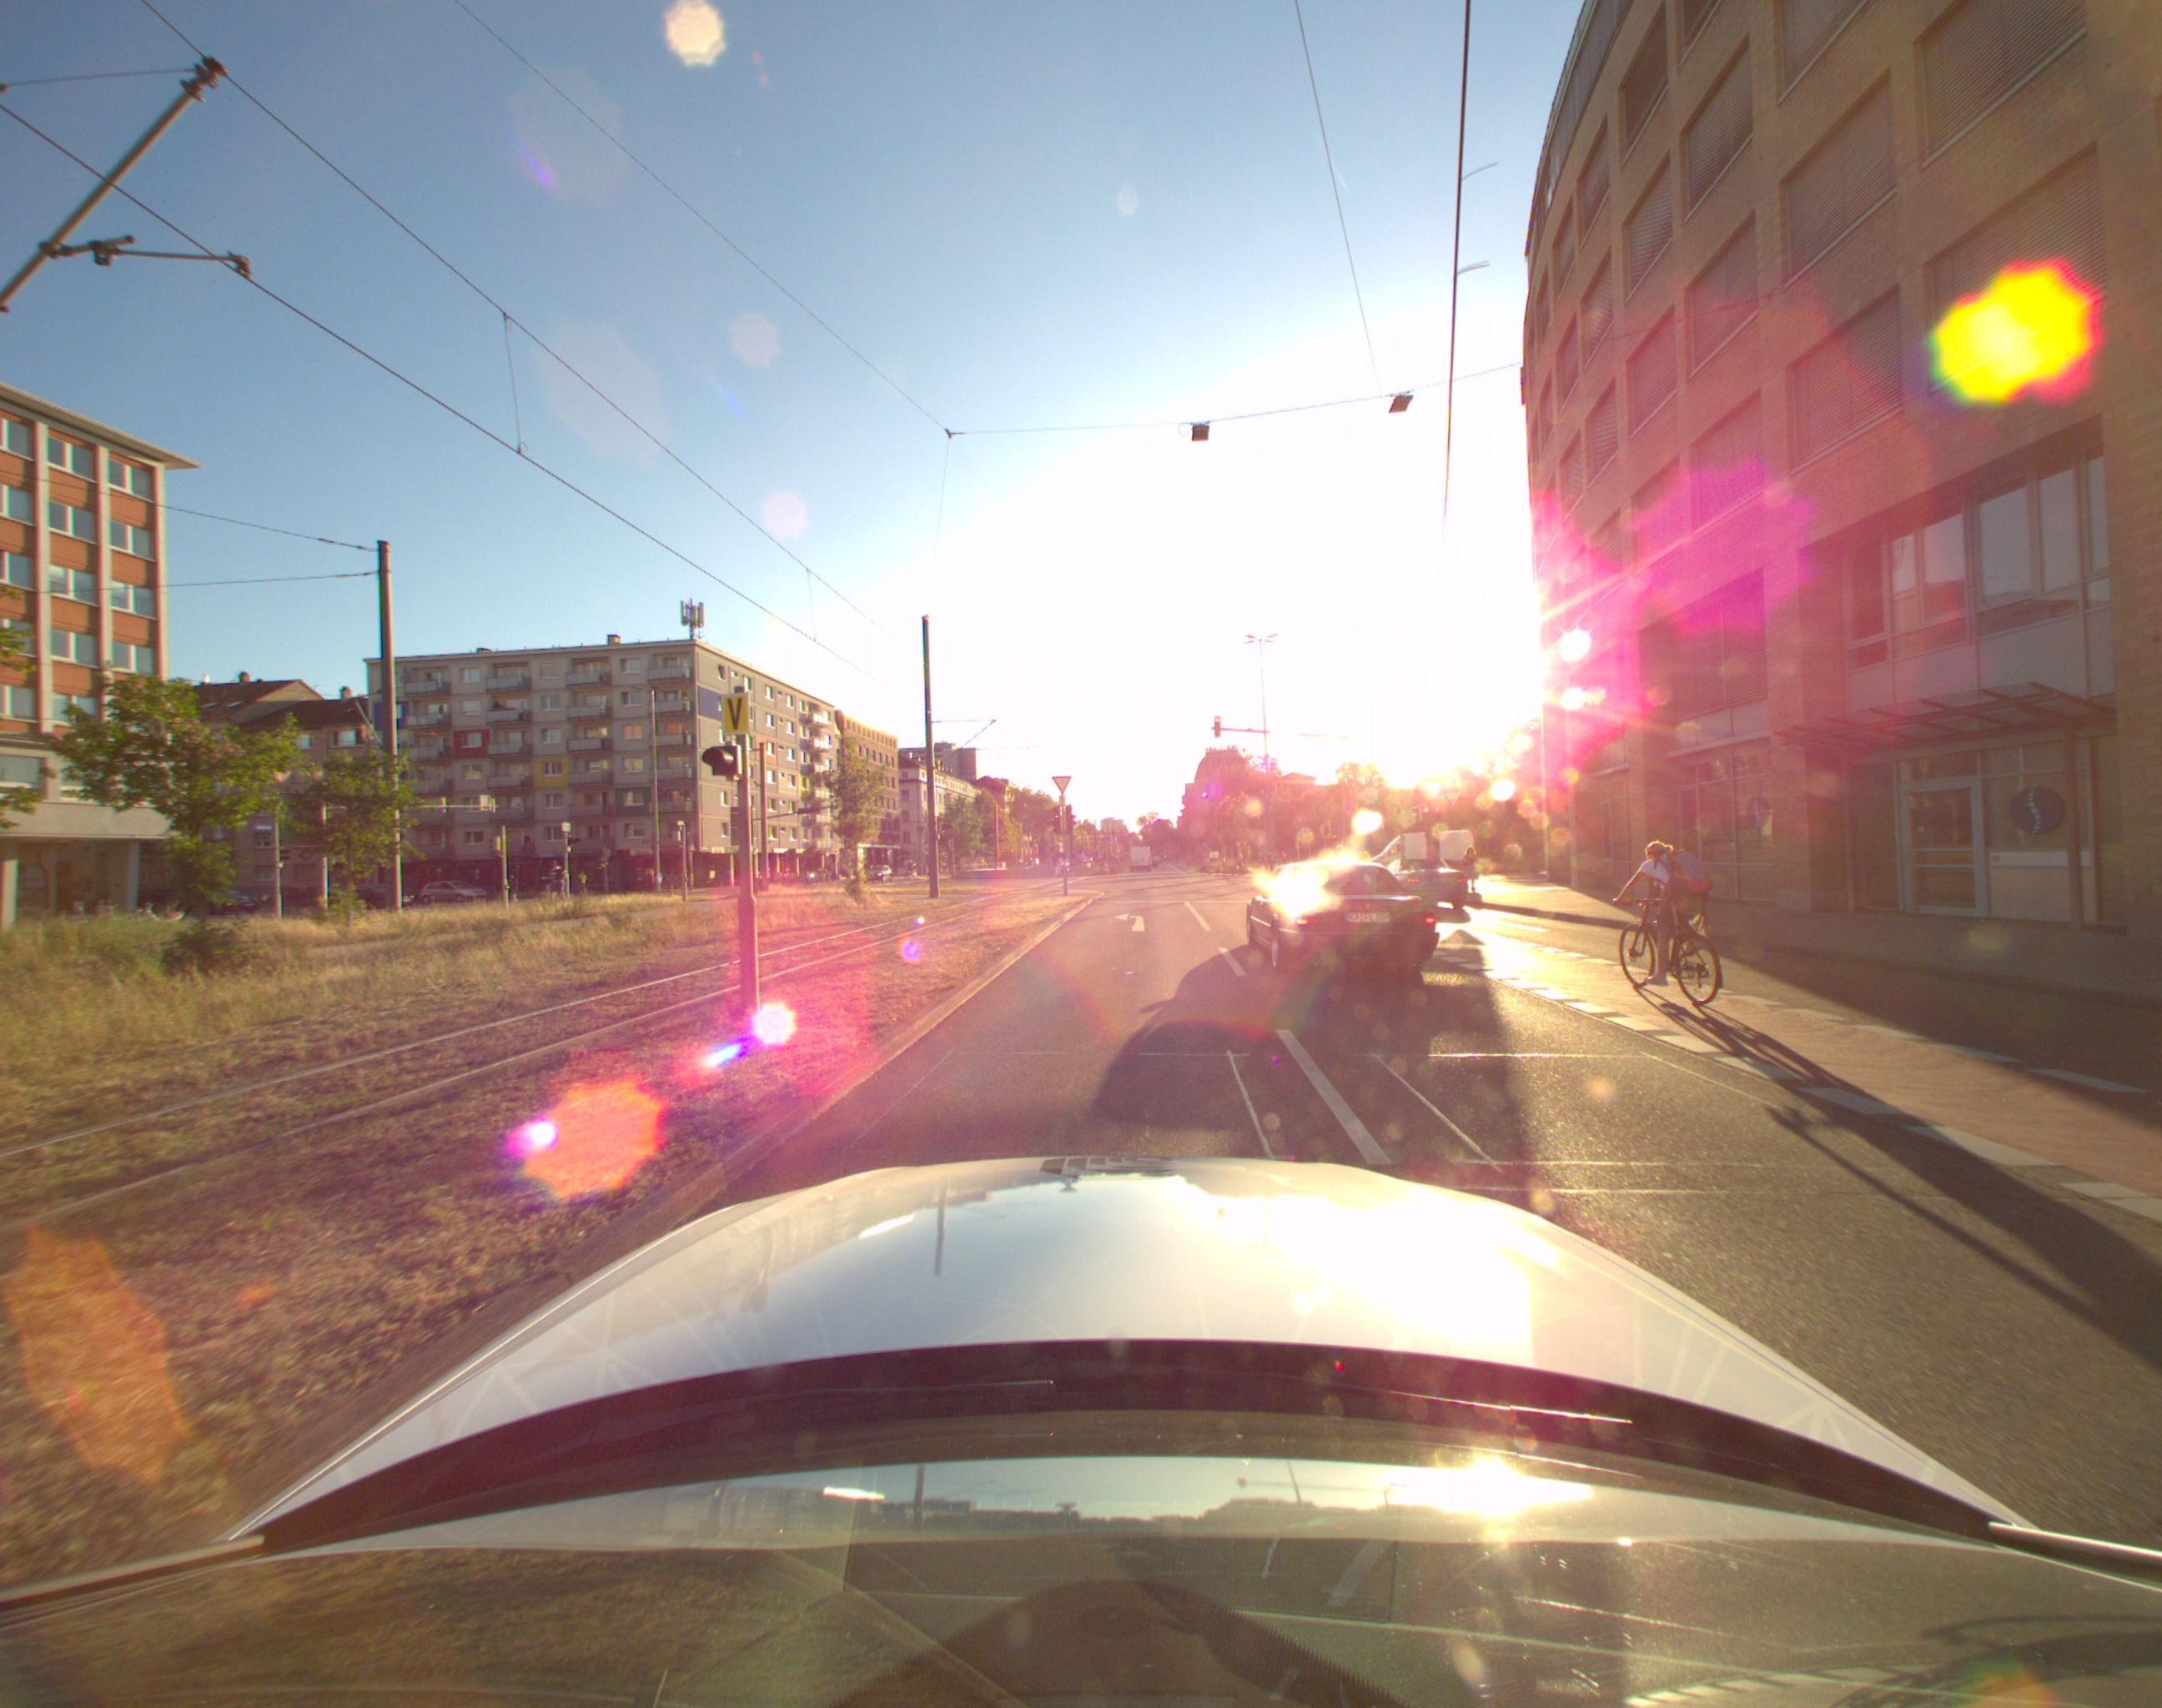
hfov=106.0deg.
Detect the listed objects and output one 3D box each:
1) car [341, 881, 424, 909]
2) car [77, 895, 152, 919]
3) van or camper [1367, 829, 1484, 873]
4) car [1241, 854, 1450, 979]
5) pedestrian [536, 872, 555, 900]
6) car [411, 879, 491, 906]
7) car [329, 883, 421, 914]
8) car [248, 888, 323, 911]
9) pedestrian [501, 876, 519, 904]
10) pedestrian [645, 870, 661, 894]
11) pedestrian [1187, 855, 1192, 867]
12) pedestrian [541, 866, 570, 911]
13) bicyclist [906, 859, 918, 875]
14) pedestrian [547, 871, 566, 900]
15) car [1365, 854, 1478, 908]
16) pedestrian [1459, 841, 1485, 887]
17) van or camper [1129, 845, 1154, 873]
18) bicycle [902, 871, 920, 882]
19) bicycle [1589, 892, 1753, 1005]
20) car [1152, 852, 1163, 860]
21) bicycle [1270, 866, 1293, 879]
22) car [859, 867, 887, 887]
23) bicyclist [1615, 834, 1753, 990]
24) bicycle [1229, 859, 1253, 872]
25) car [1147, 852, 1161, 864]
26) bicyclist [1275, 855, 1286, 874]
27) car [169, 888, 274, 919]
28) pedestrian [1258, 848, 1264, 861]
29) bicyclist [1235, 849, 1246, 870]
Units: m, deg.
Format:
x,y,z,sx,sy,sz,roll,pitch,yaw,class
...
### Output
x,y,z,sx,sy,sz,roll,pitch,yaw,class
-46.776,2.753,54.597,3.853,1.585,1.803,-2,1,-1,car
-78.669,4.306,66.330,3.853,1.585,1.803,-2,1,-1,car
23.830,-0.216,56.681,7.005,2.674,2.604,-2,1,7,van or camper
3.457,0.719,11.580,1.821,1.354,4.648,-1,0,5,car
-35.869,2.129,54.530,0.701,1.852,0.738,-2,1,5,pedestrian
-42.303,2.571,54.741,3.853,1.585,1.803,-2,1,-1,car
-42.637,2.664,49.221,3.853,1.585,1.803,-2,1,-1,car
-65.317,3.723,66.885,4.273,1.585,1.803,-2,1,-1,car
-34.709,2.188,49.499,0.512,1.629,0.616,-2,1,5,pedestrian
-30.911,2.042,58.761,0.732,1.669,0.787,-2,1,45,pedestrian
13.785,0.861,103.426,0.612,1.475,0.802,-2,1,9,pedestrian
-21.221,1.384,32.897,0.713,1.762,0.654,-2,1,26,pedestrian
-15.307,1.161,73.648,0.655,1.442,0.861,0,1,26,bicyclist
-34.931,2.100,54.201,0.599,1.847,0.823,-2,1,5,pedestrian
9.687,0.715,23.521,1.775,1.354,4.272,-1,0,4,car
13.947,0.345,29.092,0.671,1.569,0.804,-2,1,17,pedestrian
6.123,0.426,82.153,2.251,2.624,4.511,-2,1,6,van or camper
-15.360,2.019,73.692,0.695,0.970,1.744,1,1,26,bicycle
6.073,0.927,8.511,0.513,0.954,1.777,0,0,3,bicycle
14.800,0.375,157.104,1.788,1.566,4.001,-2,1,1,car
15.891,1.490,64.495,1.705,0.970,0.612,-1,1,15,bicycle
-17.678,1.920,69.115,1.720,1.434,3.971,-1,1,-22,car
6.089,0.556,8.287,0.652,1.483,1.039,0,-1,3,bicyclist
12.367,0.914,63.018,1.719,0.970,0.611,-1,1,7,bicycle
9.837,0.517,109.570,1.728,1.385,4.007,-2,1,6,car
15.806,0.851,64.496,0.847,1.442,0.666,-2,1,15,bicyclist
-53.213,3.074,50.486,4.266,1.585,1.988,-2,1,-1,car
23.209,0.049,105.158,0.678,1.611,0.613,-2,1,5,pedestrian
12.330,0.422,63.021,0.793,1.571,0.665,-2,1,8,bicyclist
